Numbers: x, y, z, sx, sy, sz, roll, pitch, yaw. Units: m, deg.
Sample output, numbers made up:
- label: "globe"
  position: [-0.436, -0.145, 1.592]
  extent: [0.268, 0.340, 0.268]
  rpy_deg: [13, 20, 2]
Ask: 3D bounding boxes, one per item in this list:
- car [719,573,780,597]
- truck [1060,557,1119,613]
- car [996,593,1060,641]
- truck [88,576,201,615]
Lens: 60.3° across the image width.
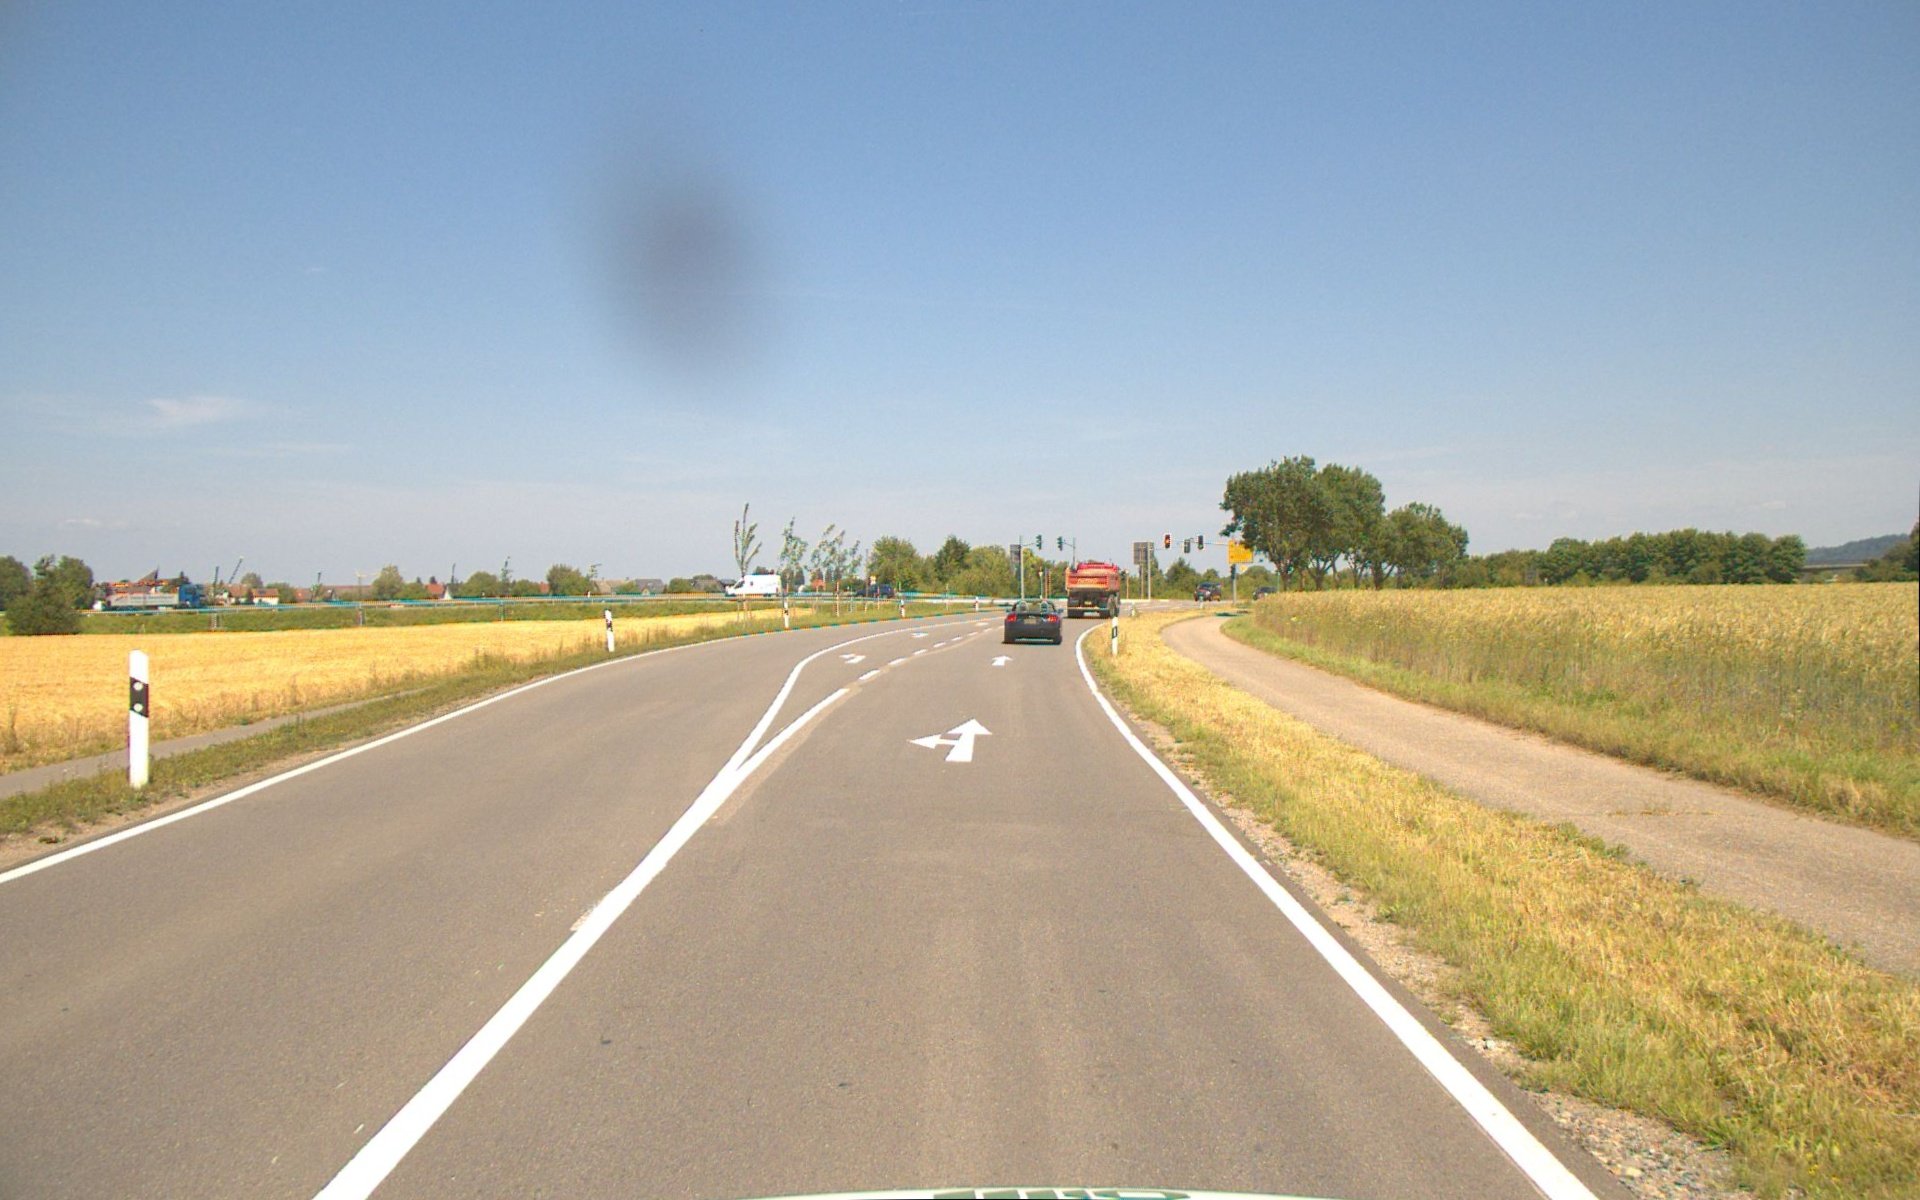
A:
- label: "car"
  position: [-21.723, -1.569, 170.793]
  extent: [5.792, 2.464, 2.249]
  rpy_deg: [0, 1, 6]
- label: "truck"
  position: [7.519, -0.793, 95.032]
  extent: [2.656, 3.106, 8.171]
  rpy_deg: [0, -1, 10]
- label: "car"
  position: [2.121, 0.517, 50.628]
  extent: [1.710, 1.400, 3.681]
  rpy_deg: [1, -1, 6]
- label: "truck"
  position: [-82.243, -0.440, 166.933]
  extent: [9.888, 3.859, 2.622]
  rpy_deg: [0, 0, -7]
